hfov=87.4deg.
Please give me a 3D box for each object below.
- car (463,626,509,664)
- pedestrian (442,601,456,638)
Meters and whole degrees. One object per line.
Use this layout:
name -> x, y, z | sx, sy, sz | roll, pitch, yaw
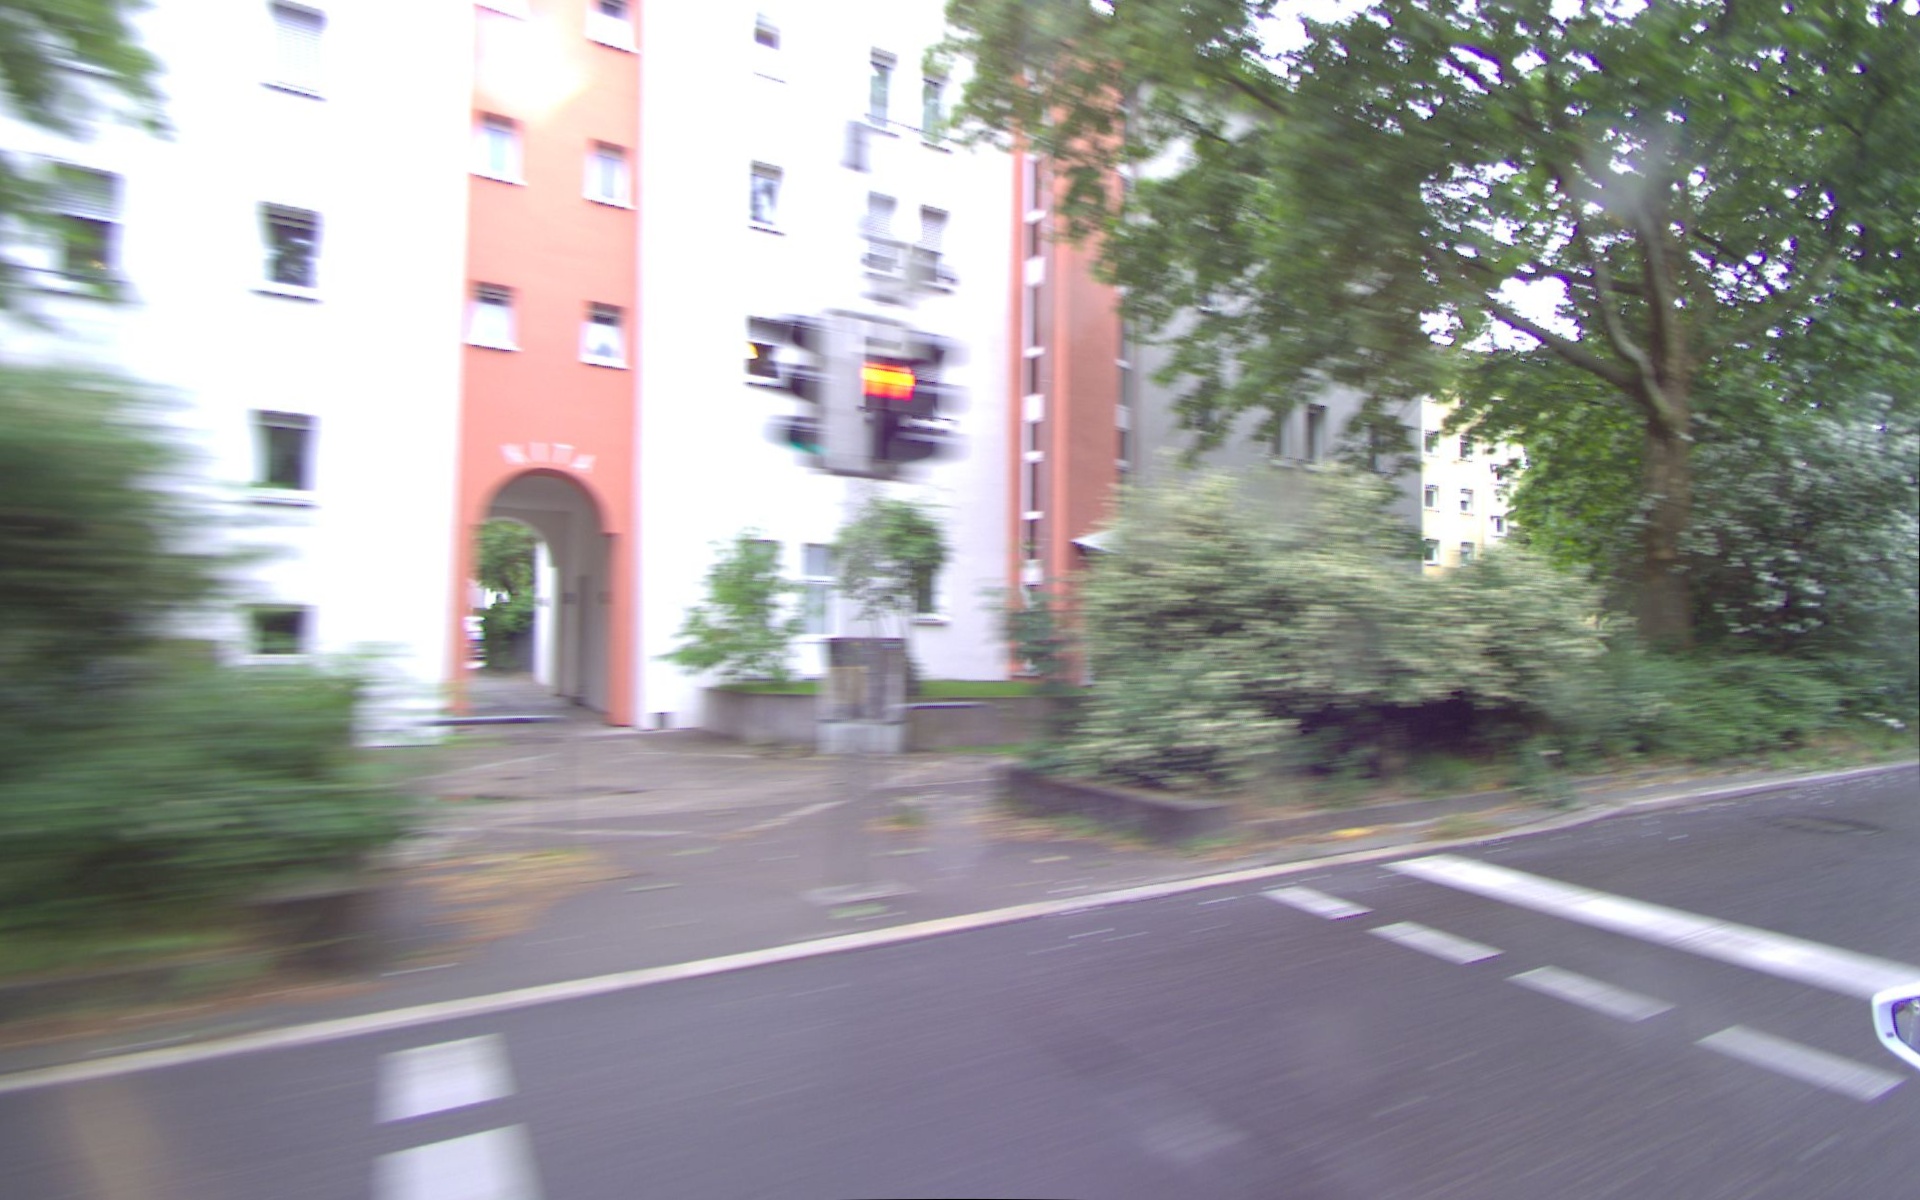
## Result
car -> -22.357, 2.106, 47.314 | 1.777, 1.719, 3.972 | 1, -3, -28
pedestrian -> -26.862, 1.031, 52.808 | 0.646, 1.892, 0.705 | 1, -2, -27
